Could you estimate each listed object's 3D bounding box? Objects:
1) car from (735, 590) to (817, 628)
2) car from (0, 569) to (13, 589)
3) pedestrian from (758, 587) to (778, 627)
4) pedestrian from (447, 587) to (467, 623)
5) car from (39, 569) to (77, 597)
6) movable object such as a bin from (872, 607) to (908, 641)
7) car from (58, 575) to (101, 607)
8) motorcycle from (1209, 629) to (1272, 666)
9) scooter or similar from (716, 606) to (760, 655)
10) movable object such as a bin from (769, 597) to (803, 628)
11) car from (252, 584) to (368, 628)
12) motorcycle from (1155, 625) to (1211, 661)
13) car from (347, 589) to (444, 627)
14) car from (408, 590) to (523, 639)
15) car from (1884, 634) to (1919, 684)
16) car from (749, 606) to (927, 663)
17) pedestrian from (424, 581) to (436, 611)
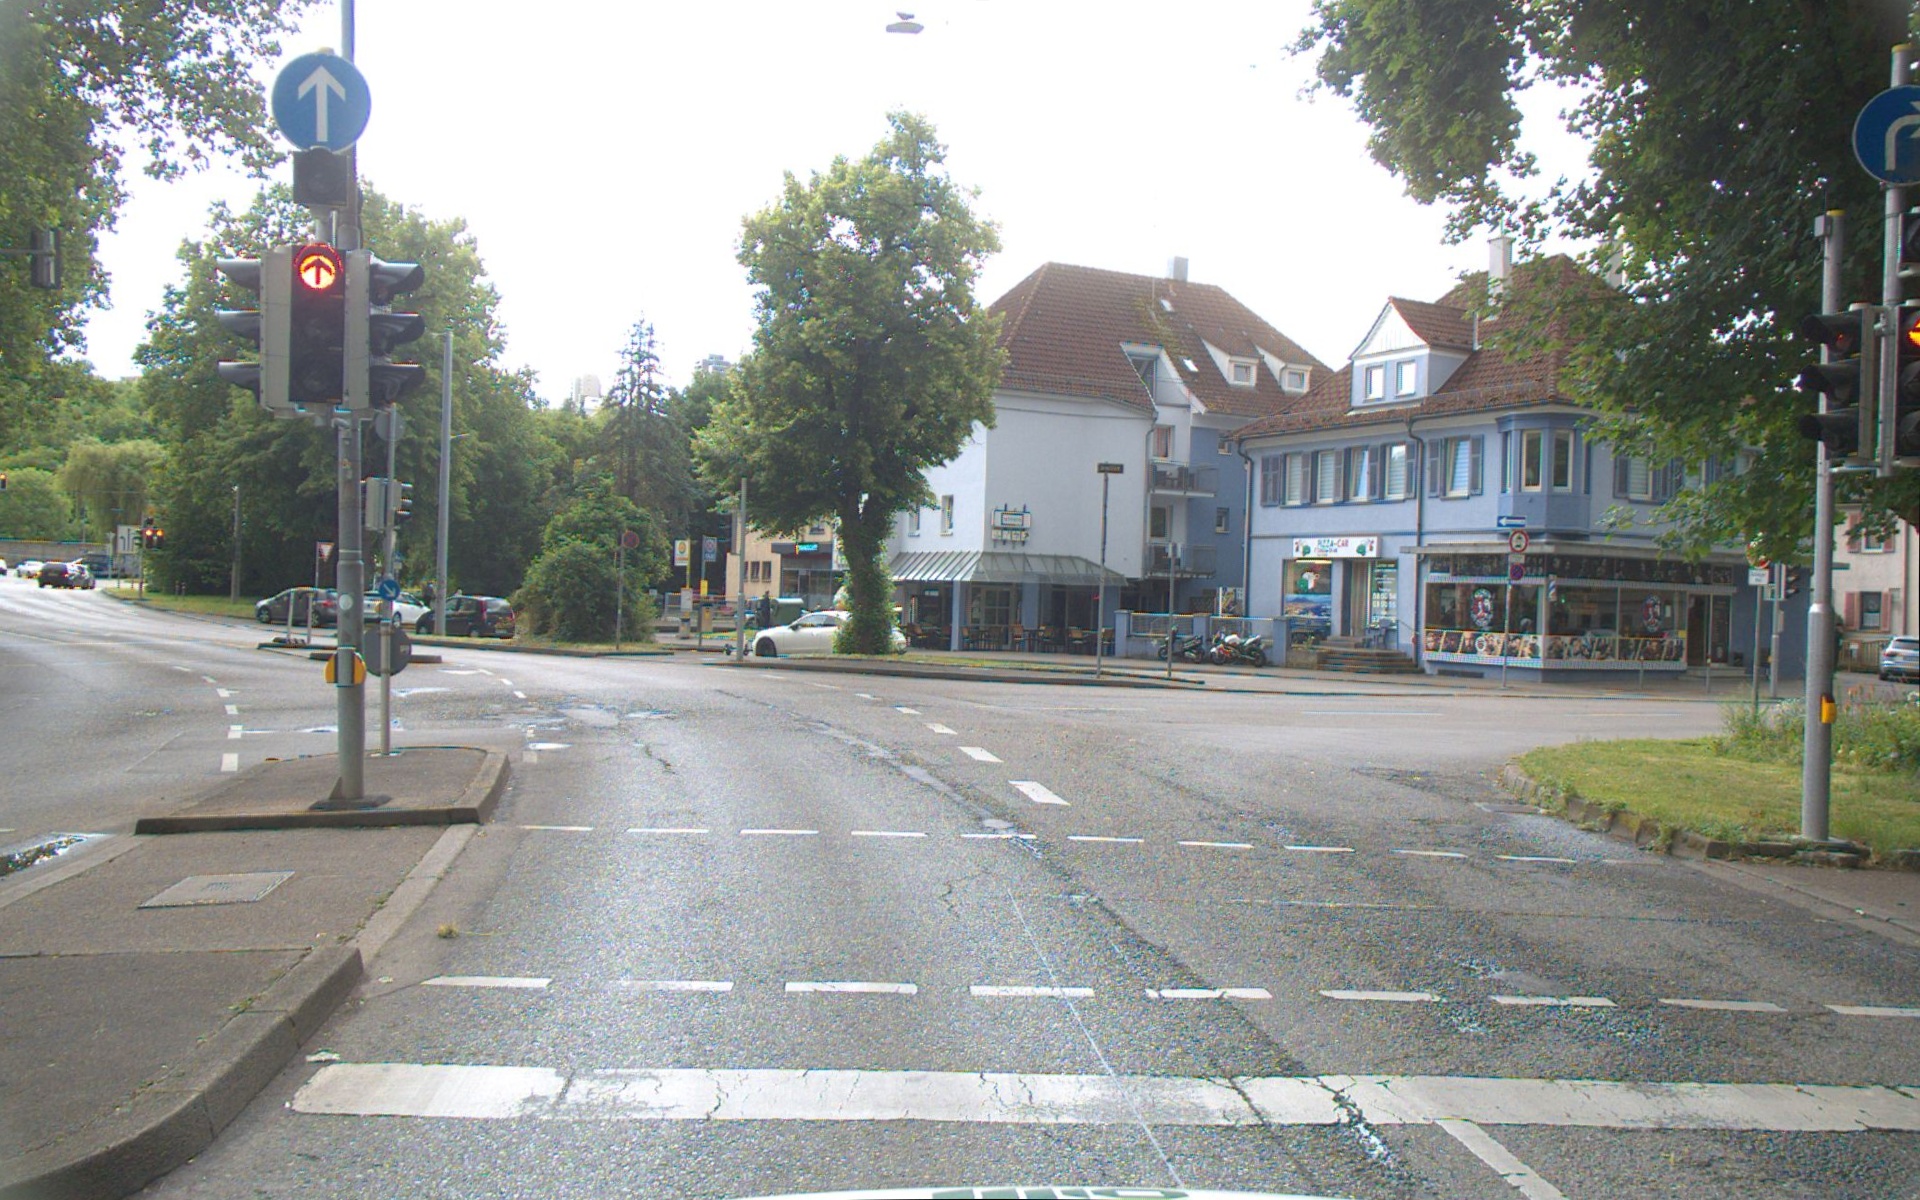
[{"bbox_3d":[-8.425,0.429,75.632,3.371,1.659,1.611,1,0,-26],"label":"car"},{"bbox_3d":[-86.866,-1.907,149.395,1.969,1.684,4.391,1,1,-26],"label":"car"},{"bbox_3d":[-8.631,0.305,74.448,0.680,1.760,0.605,1,-1,-32],"label":"pedestrian"},{"bbox_3d":[-22.570,0.217,74.229,0.677,1.578,0.734,2,0,-32],"label":"pedestrian"},{"bbox_3d":[-52.672,-0.999,96.533,1.804,1.535,4.527,1,0,-30],"label":"car"},{"bbox_3d":[-2.988,1.010,70.412,1.197,1.419,1.153,1,0,-22],"label":"movable object such as a bin"},{"bbox_3d":[-55.937,-0.548,105.128,1.966,1.959,3.973,1,0,-22],"label":"car"},{"bbox_3d":[8.205,1.383,48.423,1.791,1.003,0.518,1,-1,43],"label":"motorcycle"},{"bbox_3d":[-5.713,0.789,42.630,0.403,1.187,1.361,1,-3,25],"label":"scooter or similar"},{"bbox_3d":[-7.745,0.554,73.773,1.204,1.368,0.984,1,-1,-32],"label":"movable object such as a bin"},{"bbox_3d":[-25.077,0.224,63.843,4.016,1.454,1.733,3,0,21],"label":"car"},{"bbox_3d":[6.741,1.298,50.109,1.695,1.049,0.487,1,0,42],"label":"motorcycle"},{"bbox_3d":[-22.706,0.340,66.665,1.721,1.405,4.265,2,0,11],"label":"car"},{"bbox_3d":[-15.984,0.451,53.481,3.416,1.428,1.571,2,0,28],"label":"car"},{"bbox_3d":[29.754,1.824,51.621,1.537,1.488,3.433,2,0,29],"label":"car"},{"bbox_3d":[-3.394,0.927,45.680,4.689,1.411,1.994,1,0,34],"label":"car"},{"bbox_3d":[-28.564,-0.217,89.111,0.503,1.558,0.772,2,-1,-23],"label":"pedestrian"}]
